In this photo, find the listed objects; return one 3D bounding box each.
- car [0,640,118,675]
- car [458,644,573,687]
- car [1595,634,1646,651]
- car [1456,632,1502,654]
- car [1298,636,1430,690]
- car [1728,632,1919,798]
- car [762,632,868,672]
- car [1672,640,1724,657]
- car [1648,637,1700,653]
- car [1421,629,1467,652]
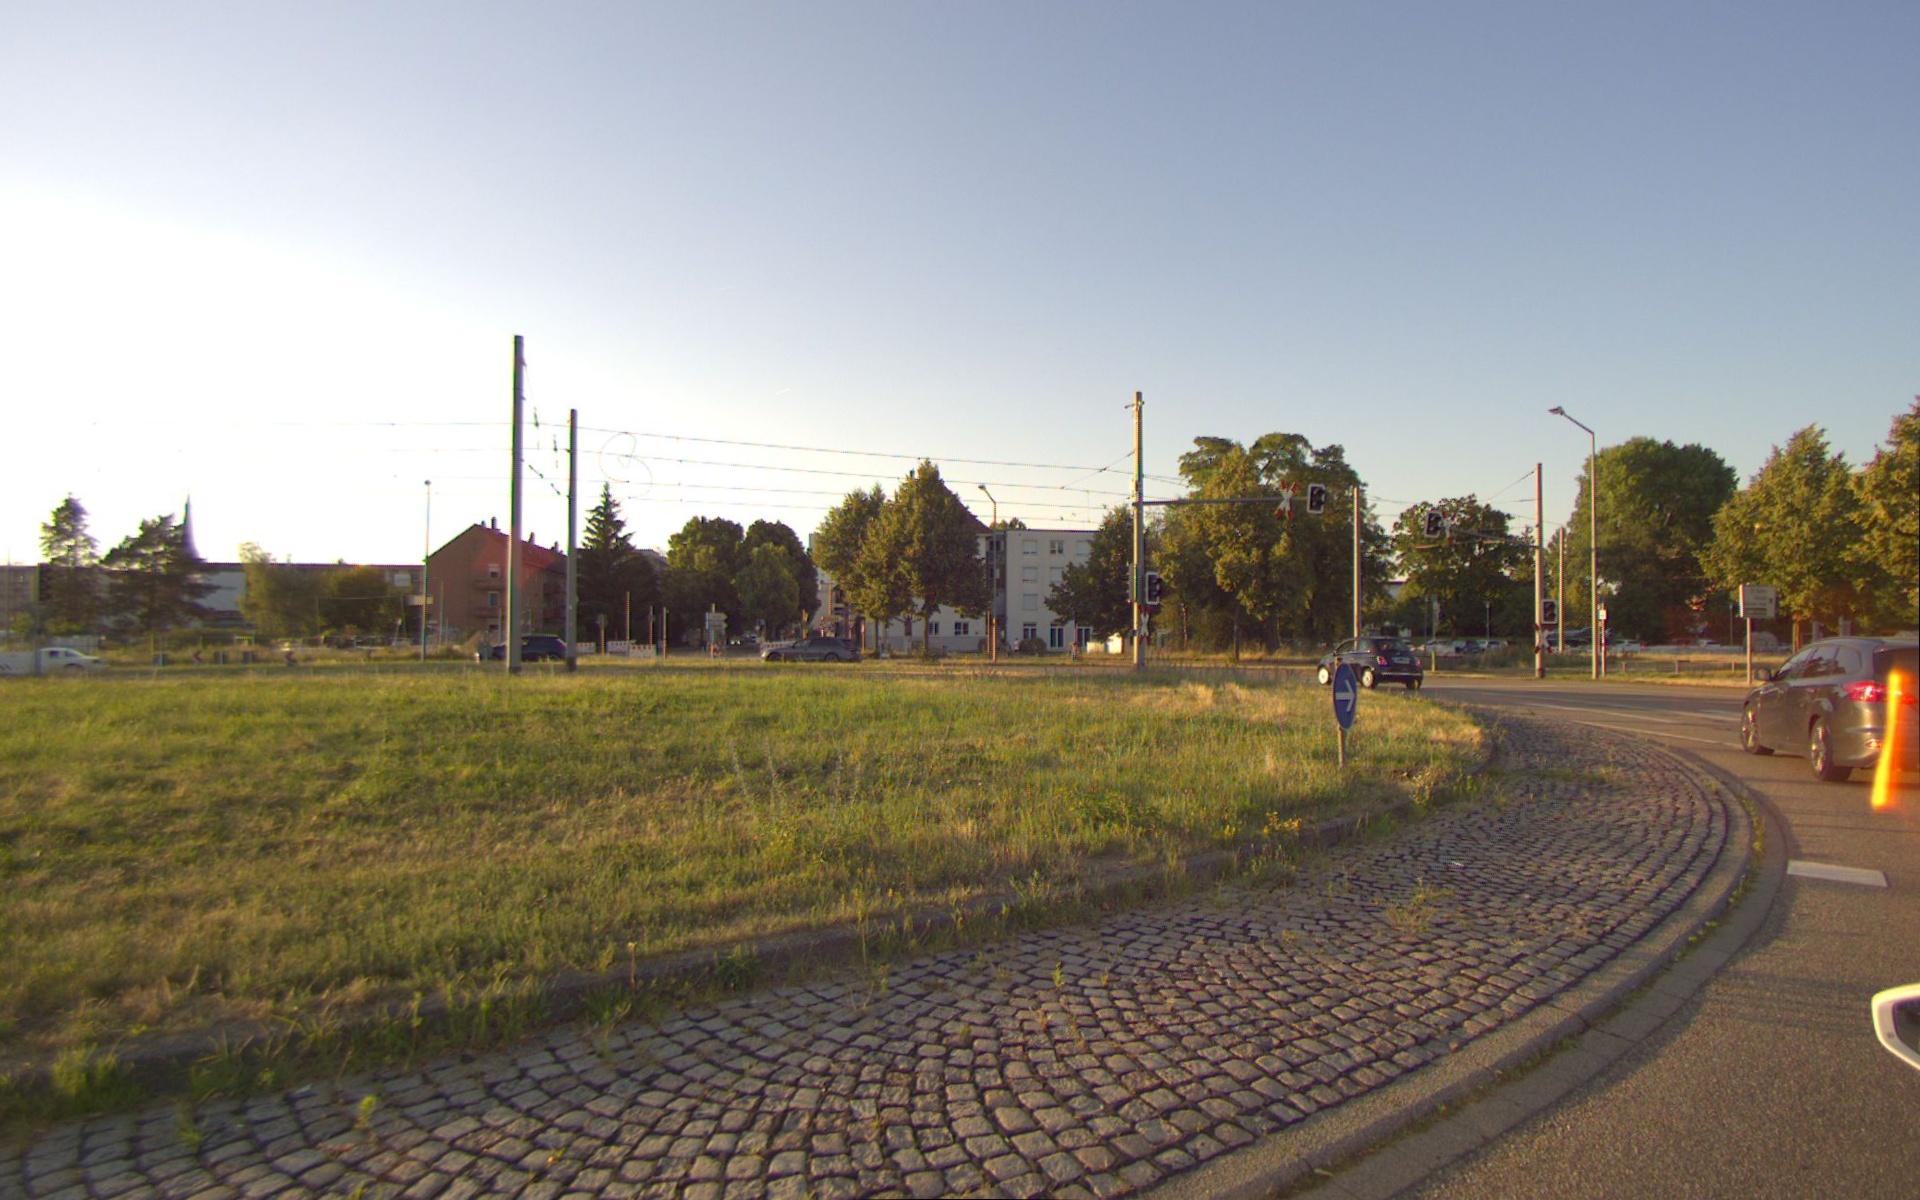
[{"bbox_3d":[-36.765,2.316,40.672,3.725,1.272,1.571,0,0,-22],"label":"car"},{"bbox_3d":[-19.510,2.855,44.254,4.531,1.770,1.742,0,-2,-23],"label":"car"},{"bbox_3d":[65.297,4.207,99.383,1.965,1.571,3.992,0,-2,-11],"label":"car"},{"bbox_3d":[50.098,4.113,97.017,1.964,2.126,3.993,0,-2,-10],"label":"car"},{"bbox_3d":[11.869,1.823,29.827,1.720,1.465,4.129,0,-2,-10],"label":"car"},{"bbox_3d":[9.891,1.101,10.825,1.719,1.486,4.131,-1,-2,26],"label":"car"},{"bbox_3d":[-6.649,2.390,46.180,4.504,1.770,1.753,-1,-2,10],"label":"car"},{"bbox_3d":[74.184,4.876,101.044,1.965,1.571,3.992,0,-2,-11],"label":"car"},{"bbox_3d":[71.698,4.496,100.931,1.965,1.571,3.992,0,-2,-11],"label":"car"},{"bbox_3d":[46.452,3.892,96.467,1.964,2.126,3.993,0,-2,-10],"label":"car"}]
